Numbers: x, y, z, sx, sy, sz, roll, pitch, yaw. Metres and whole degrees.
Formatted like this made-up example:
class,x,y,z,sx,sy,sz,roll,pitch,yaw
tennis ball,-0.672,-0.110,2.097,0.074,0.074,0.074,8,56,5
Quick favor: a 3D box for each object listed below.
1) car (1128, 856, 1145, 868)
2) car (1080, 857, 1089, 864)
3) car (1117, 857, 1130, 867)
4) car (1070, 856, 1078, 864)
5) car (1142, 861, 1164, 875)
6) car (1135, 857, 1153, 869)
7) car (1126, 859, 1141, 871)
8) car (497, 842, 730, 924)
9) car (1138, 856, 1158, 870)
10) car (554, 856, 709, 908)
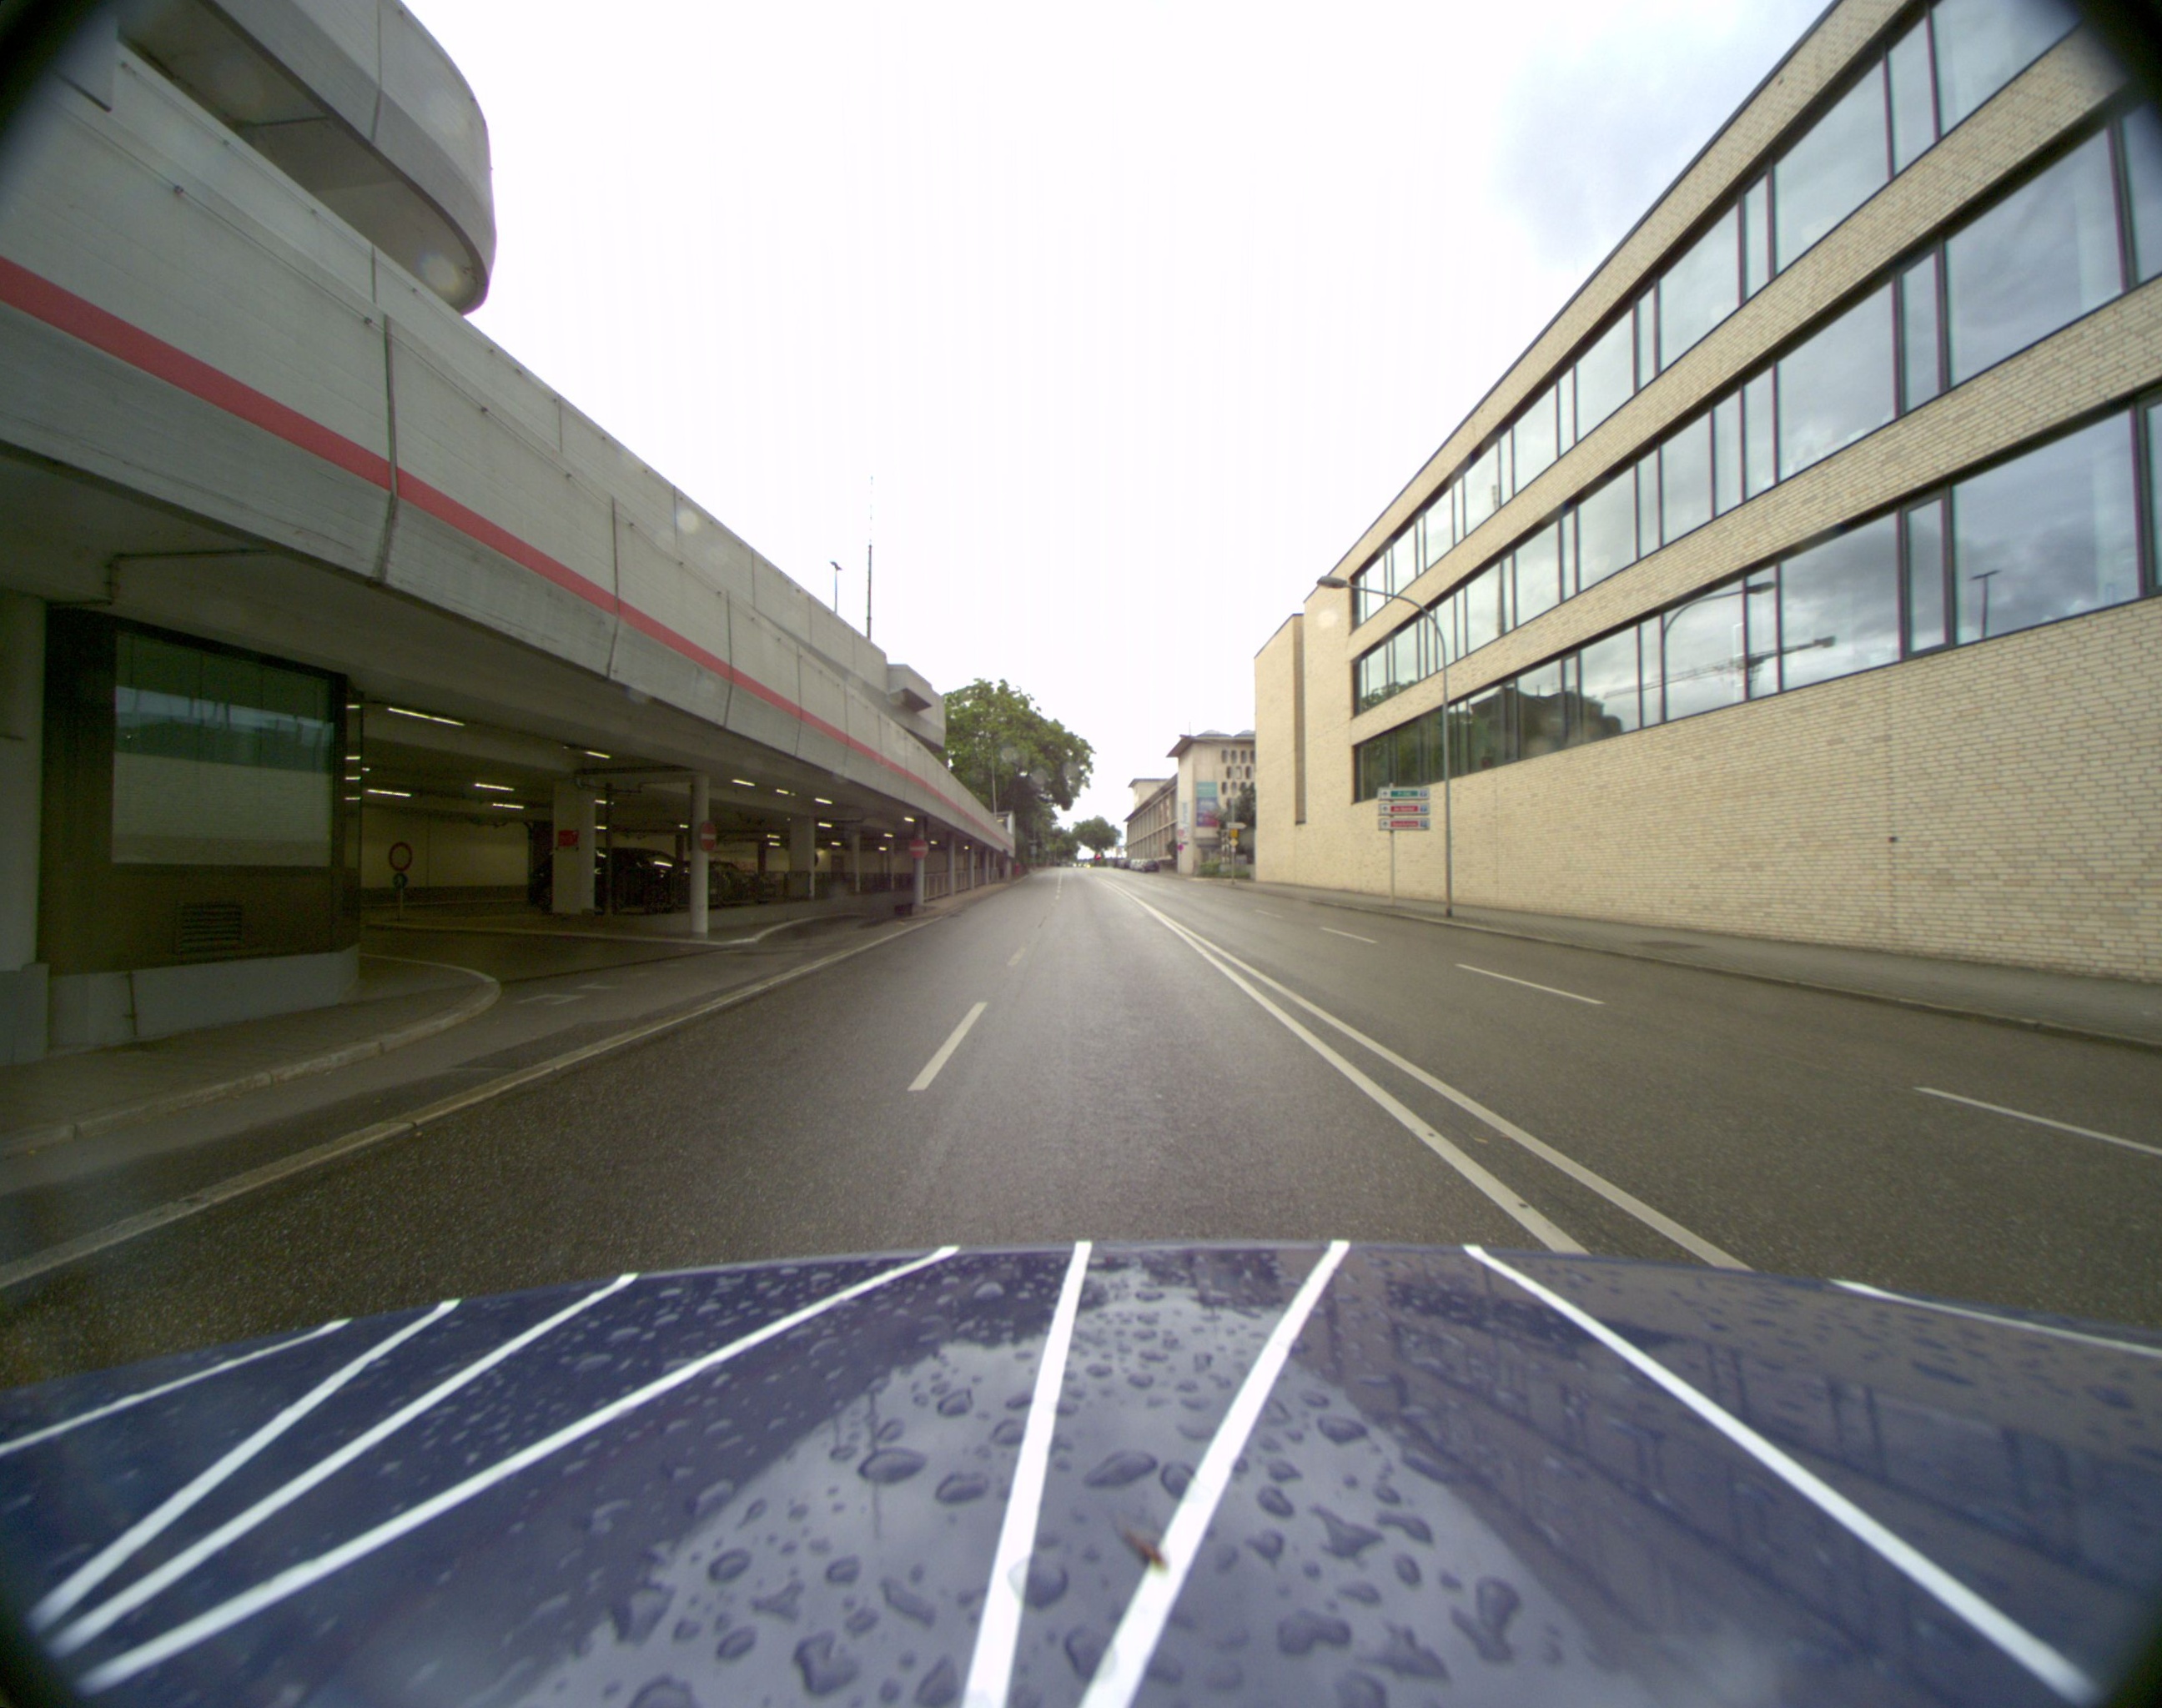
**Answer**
class,x,y,z,sx,sy,sz,roll,pitch,yaw
car,7.818,1.072,107.128,1.999,1.482,4.185,-2,1,-1
car,0.900,1.751,205.966,1.806,2.002,3.997,-2,1,-6
car,7.877,1.452,142.729,1.999,1.637,3.998,-3,2,-2
car,-1.940,1.689,212.087,1.998,2.002,3.999,-2,1,1
car,8.596,1.655,91.036,1.999,1.520,3.999,-2,1,-2
car,8.427,1.178,102.027,1.998,1.503,3.999,-2,1,0
car,8.378,1.737,121.537,1.999,1.701,3.999,-3,1,-1
car,-11.384,0.699,18.681,4.585,1.630,1.823,4,-1,4
car,8.502,1.154,96.498,1.999,1.632,3.999,-2,1,-1
car,-13.742,0.842,23.342,3.730,1.496,1.808,0,-1,7
